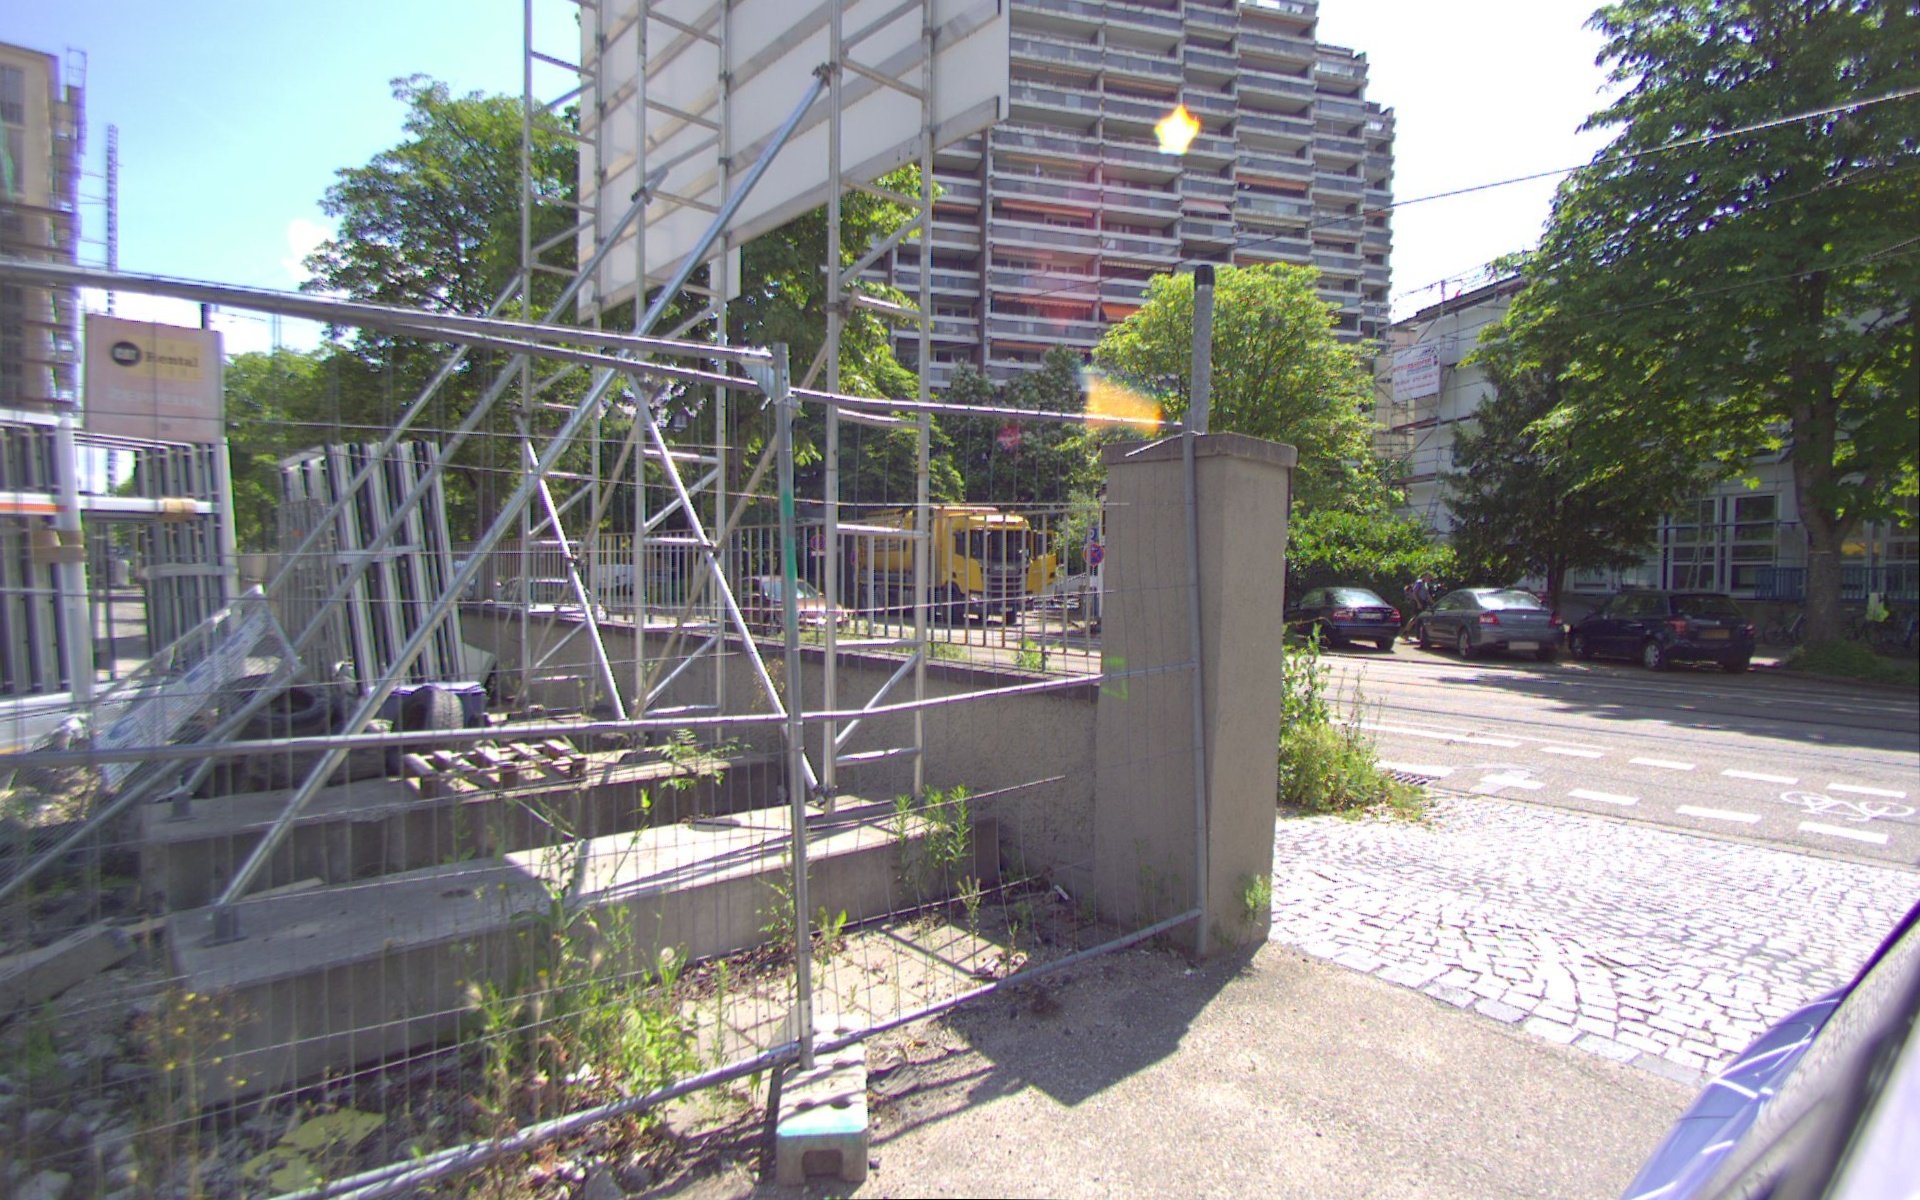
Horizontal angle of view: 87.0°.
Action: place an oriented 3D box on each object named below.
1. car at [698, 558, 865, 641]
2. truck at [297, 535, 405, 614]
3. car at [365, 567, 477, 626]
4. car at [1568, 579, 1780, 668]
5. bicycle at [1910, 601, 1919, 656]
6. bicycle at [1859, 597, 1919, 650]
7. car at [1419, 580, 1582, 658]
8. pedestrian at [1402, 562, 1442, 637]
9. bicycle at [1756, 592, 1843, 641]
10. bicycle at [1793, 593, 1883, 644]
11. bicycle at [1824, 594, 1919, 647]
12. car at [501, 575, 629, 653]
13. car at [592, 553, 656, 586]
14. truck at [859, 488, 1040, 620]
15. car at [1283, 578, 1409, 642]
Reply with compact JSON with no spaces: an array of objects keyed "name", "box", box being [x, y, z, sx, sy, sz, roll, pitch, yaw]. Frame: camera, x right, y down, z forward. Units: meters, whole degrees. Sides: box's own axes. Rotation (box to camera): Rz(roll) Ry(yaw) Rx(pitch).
[{"name":"car","box":[-4.102,-0.063,22.839,1.964,1.710,3.996,0,1,-40]},{"name":"truck","box":[-21.156,-0.896,35.036,1.993,2.516,5.859,0,1,-44]},{"name":"car","box":[-16.338,-0.132,30.585,1.967,1.627,3.990,1,1,-44]},{"name":"car","box":[13.624,0.371,19.586,1.620,1.535,3.574,1,1,2]},{"name":"bicycle","box":[21.178,0.617,21.376,1.903,1.144,0.569,1,1,-10]},{"name":"bicycle","box":[20.963,0.522,22.343,1.903,1.144,0.569,1,1,-10]},{"name":"car","box":[11.472,0.332,21.806,1.789,1.481,4.014,1,1,8]},{"name":"pedestrian","box":[11.764,-0.016,25.761,0.701,1.898,0.578,1,1,-28]},{"name":"bicycle","box":[20.385,0.403,24.566,1.887,1.144,0.570,1,1,-13]},{"name":"bicycle","box":[20.672,0.431,23.837,1.887,1.144,0.570,1,1,-13]},{"name":"bicycle","box":[20.806,0.464,23.075,1.888,1.144,0.569,1,1,-10]},{"name":"car","box":[-8.386,0.240,21.337,1.592,1.458,3.582,0,1,-37]},{"name":"car","box":[-19.641,-1.764,59.302,1.806,1.816,3.987,1,1,11]},{"name":"truck","box":[-0.732,-1.537,36.063,2.694,4.055,9.764,0,1,-25]},{"name":"car","box":[9.207,0.184,24.497,1.600,1.390,4.021,1,1,2]}]
